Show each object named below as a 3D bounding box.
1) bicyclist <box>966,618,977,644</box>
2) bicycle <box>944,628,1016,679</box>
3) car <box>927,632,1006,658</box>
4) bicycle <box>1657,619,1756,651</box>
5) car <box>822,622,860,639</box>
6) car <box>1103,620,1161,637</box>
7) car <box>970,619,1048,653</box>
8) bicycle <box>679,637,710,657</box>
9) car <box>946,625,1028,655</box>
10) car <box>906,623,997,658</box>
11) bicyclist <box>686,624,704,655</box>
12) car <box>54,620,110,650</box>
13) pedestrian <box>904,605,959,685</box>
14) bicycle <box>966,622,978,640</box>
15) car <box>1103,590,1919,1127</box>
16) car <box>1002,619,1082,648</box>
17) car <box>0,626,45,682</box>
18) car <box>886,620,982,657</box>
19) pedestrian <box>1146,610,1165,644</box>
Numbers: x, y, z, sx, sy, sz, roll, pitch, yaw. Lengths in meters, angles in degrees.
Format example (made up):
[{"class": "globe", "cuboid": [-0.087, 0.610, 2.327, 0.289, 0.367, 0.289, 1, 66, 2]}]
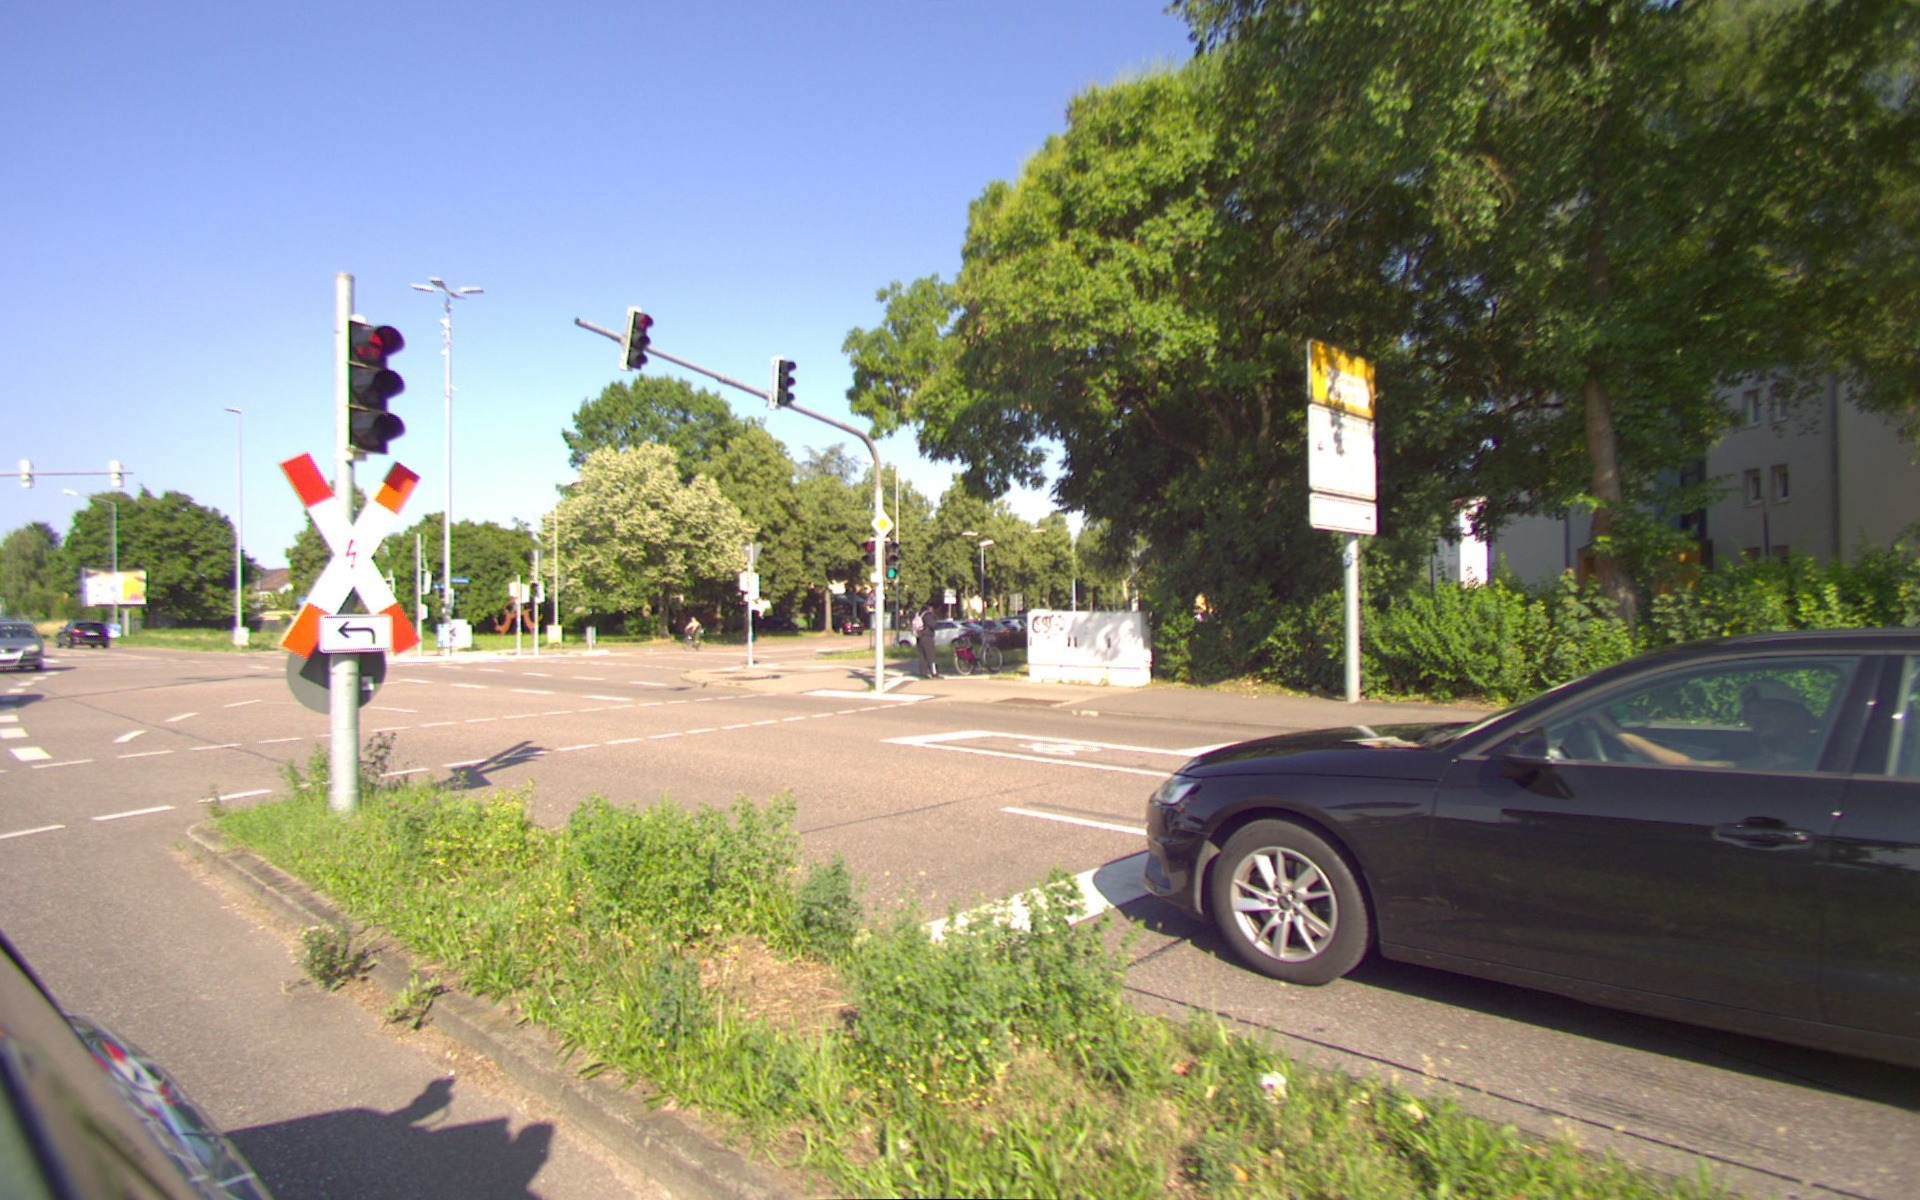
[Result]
[{"class": "bicyclist", "cuboid": [0.698, 1.846, 60.830, 0.600, 1.572, 0.603, 0, -1, -1]}, {"class": "bicycle", "cuboid": [0.485, 1.246, 23.832, 0.632, 1.127, 1.889, -2, -2, 40]}, {"class": "car", "cuboid": [0.329, 2.252, 50.976, 3.763, 1.202, 1.453, -1, -1, 24]}, {"class": "bicycle", "cuboid": [22.643, 1.047, 30.719, 2.377, 0.926, 0.669, -1, -1, 7]}, {"class": "car", "cuboid": [-9.796, 2.503, 83.119, 1.499, 1.330, 4.785, 0, -1, -28]}, {"class": "car", "cuboid": [15.301, 2.538, 89.920, 4.785, 1.488, 1.770, -1, -1, 25]}, {"class": "car", "cuboid": [2.709, 1.970, 55.917, 3.973, 1.824, 1.772, -1, -1, 23]}, {"class": "bicycle", "cuboid": [-13.462, 2.380, 51.293, 0.649, 0.910, 1.799, -1, -1, 18]}, {"class": "car", "cuboid": [1.405, 2.106, 53.476, 3.973, 1.532, 1.772, -1, -1, 23]}, {"class": "car", "cuboid": [-0.415, 1.955, 49.096, 3.977, 1.426, 1.770, -5, -3, 25]}, {"class": "bicyclist", "cuboid": [-13.455, 1.988, 51.342, 0.612, 1.535, 0.624, -2, -1, 15]}, {"class": "car", "cuboid": [-51.303, 2.034, 59.127, 4.383, 1.672, 1.968, -2, -1, 42]}, {"class": "pedestrian", "cuboid": [-0.636, 0.995, 22.754, 0.806, 1.765, 0.932, 0, -2, -44]}, {"class": "bicycle", "cuboid": [0.699, 1.877, 60.799, 0.613, 1.048, 2.072, -1, -1, -2]}, {"class": "car", "cuboid": [2.995, 0.724, 3.580, 4.728, 1.442, 1.810, -1, -3, 41]}, {"class": "car", "cuboid": [5.207, 2.101, 64.025, 4.679, 1.488, 1.773, -5, -2, 20]}, {"class": "car", "cuboid": [-27.756, 1.513, 28.932, 4.607, 1.501, 1.798, -1, -1, 40]}, {"class": "car", "cuboid": [-1.181, 1.745, 45.955, 3.975, 1.450, 1.771, -4, -2, 24]}, {"class": "pedestrian", "cuboid": [10.049, 1.404, 52.106, 0.615, 1.726, 0.706, 0, -2, -37]}]
